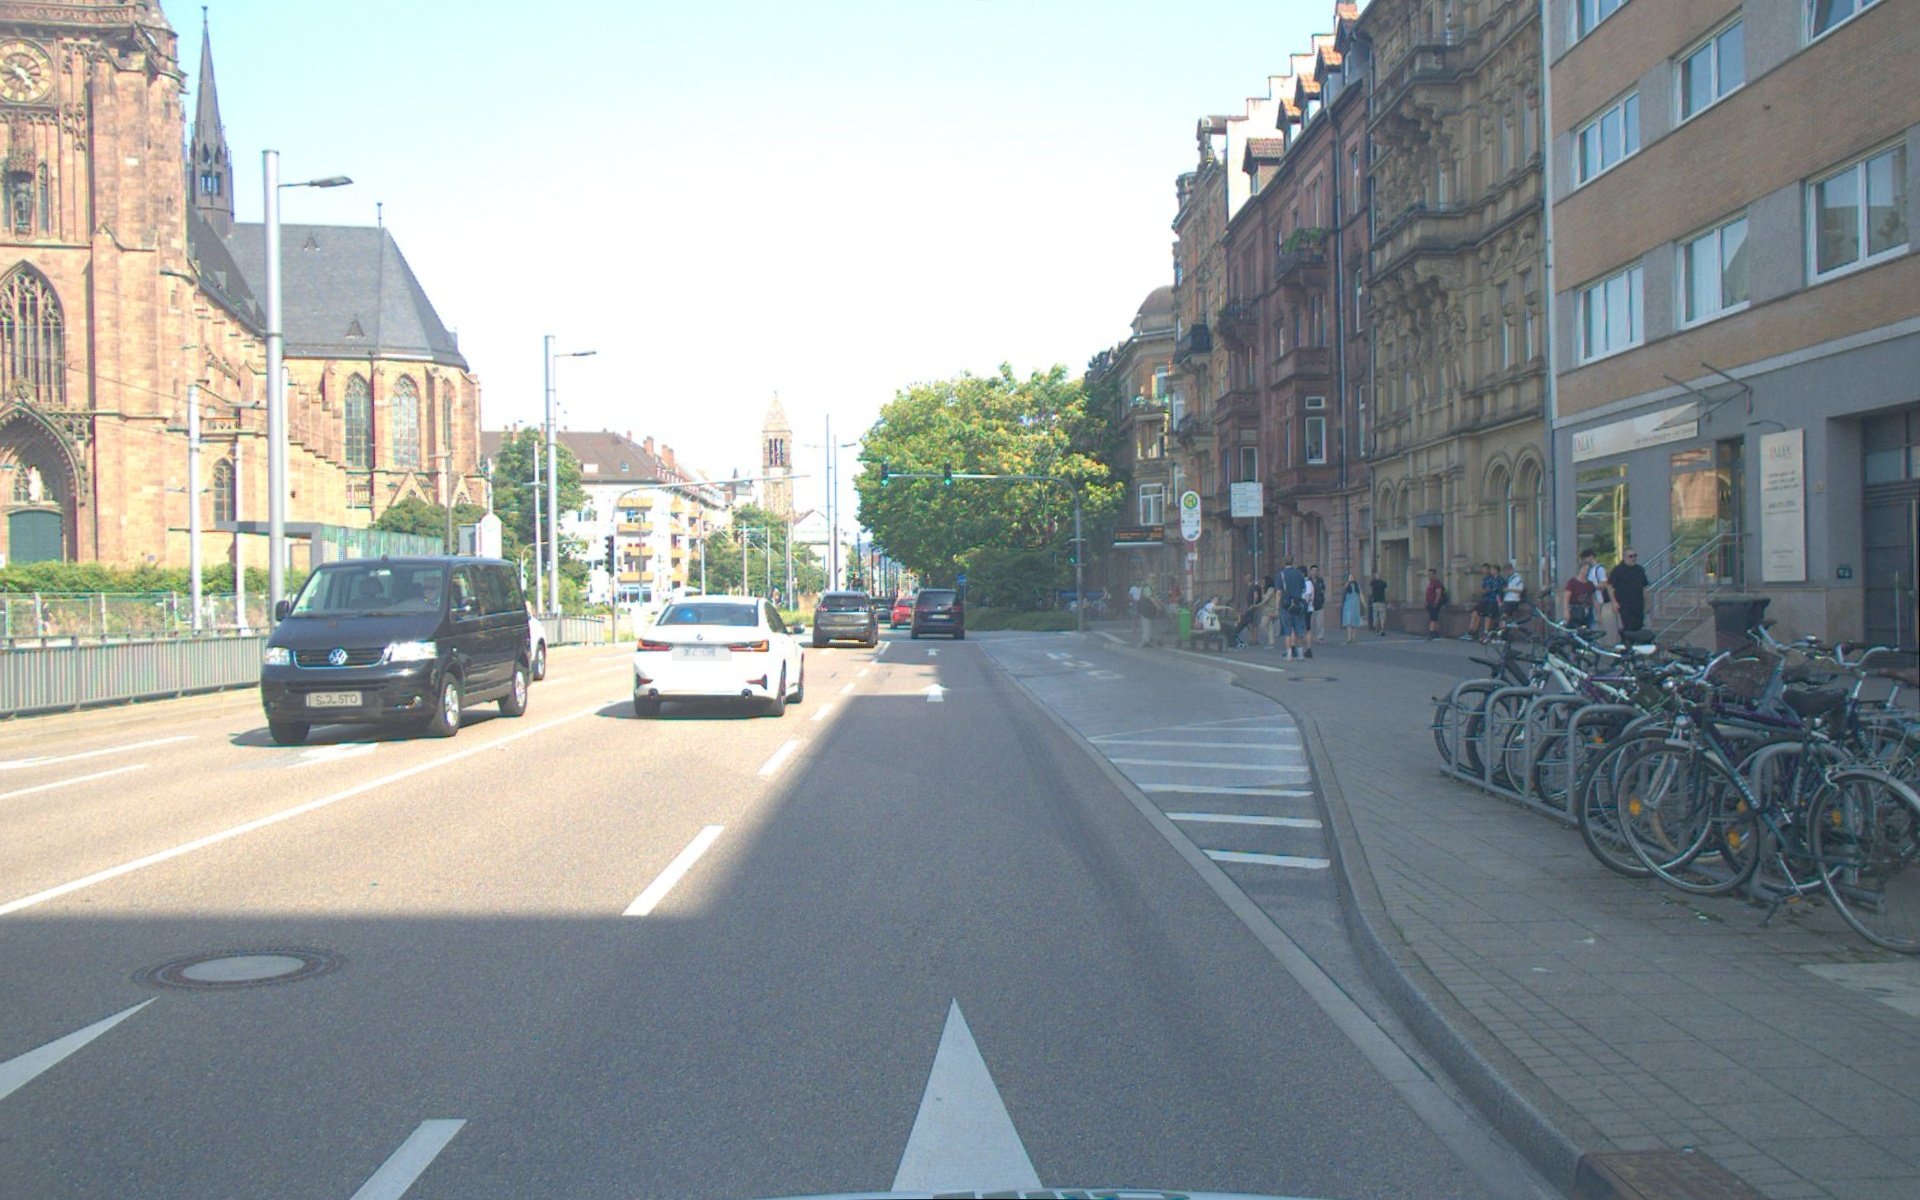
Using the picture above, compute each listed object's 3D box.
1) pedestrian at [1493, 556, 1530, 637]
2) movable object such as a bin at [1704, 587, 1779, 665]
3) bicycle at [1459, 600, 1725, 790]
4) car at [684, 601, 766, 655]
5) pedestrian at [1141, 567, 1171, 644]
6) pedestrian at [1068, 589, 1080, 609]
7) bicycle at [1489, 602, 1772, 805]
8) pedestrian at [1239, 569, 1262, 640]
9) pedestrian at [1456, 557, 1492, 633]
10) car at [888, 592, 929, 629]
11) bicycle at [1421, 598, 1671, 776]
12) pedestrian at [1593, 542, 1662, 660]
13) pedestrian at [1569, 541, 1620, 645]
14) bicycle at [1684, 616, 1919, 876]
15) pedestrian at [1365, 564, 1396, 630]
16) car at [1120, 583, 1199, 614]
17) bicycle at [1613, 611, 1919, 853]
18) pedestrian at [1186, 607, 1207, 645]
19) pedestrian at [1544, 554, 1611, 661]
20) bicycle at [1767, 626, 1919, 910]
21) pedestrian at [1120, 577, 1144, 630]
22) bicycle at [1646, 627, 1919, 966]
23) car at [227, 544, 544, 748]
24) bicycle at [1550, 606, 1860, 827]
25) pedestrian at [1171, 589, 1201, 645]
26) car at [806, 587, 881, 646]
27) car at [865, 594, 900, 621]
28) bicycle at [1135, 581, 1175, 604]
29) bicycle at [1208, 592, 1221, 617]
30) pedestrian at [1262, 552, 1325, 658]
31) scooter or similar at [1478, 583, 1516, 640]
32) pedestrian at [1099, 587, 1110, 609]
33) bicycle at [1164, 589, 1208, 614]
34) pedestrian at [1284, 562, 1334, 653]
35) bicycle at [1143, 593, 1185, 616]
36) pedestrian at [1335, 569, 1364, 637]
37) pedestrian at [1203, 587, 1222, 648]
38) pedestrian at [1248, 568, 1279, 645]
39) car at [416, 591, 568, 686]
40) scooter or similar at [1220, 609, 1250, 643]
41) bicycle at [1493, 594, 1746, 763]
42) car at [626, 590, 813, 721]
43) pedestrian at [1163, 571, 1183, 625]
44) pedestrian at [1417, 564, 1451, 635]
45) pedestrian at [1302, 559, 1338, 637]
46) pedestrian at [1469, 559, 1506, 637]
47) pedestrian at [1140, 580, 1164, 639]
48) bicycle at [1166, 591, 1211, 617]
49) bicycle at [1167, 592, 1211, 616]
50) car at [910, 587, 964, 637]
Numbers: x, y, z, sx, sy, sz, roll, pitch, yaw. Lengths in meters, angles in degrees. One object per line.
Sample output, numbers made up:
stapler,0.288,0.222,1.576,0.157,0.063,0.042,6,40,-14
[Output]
pedestrian,12.047,-0.076,36.163,0.591,1.761,0.510,-1,0,-4
movable object such as a bin,11.498,0.375,24.337,0.725,1.099,0.666,-1,0,-18
bicycle,4.117,0.606,10.790,1.601,1.168,0.385,-1,0,-6
car,-6.483,0.741,45.982,1.678,1.354,4.520,-2,0,-1
pedestrian,4.596,0.126,38.809,0.554,1.759,0.745,-1,0,-4
pedestrian,6.498,-0.058,94.362,0.439,1.089,0.482,-1,0,-31
bicycle,4.108,0.619,10.156,1.601,1.168,0.385,-1,0,-6
pedestrian,7.349,0.110,41.856,0.334,1.763,0.805,-1,0,-4
pedestrian,11.769,-0.119,37.881,0.591,1.721,0.586,-1,0,-4
car,-2.350,0.473,76.687,1.794,1.649,4.356,0,0,-1
bicycle,4.056,0.586,11.470,1.601,1.168,0.385,-1,0,-6
pedestrian,10.460,0.014,25.950,0.705,1.818,0.856,-1,0,0
pedestrian,11.548,-0.126,30.119,0.591,1.863,0.742,-1,0,-4
bicycle,4.344,0.673,7.926,1.601,1.168,0.385,-1,0,-6
pedestrian,11.300,-0.076,44.434,0.616,1.749,0.690,-1,0,-1
car,11.140,-0.081,92.502,4.099,1.590,1.998,-1,0,-5
bicycle,4.255,0.664,8.575,1.601,1.168,0.385,-1,0,-6
pedestrian,5.273,0.577,36.839,0.297,0.834,0.603,-1,0,-8
pedestrian,9.685,0.116,25.972,0.705,1.638,0.856,-1,0,0
bicycle,4.403,0.699,7.225,1.601,1.168,0.385,-1,0,-6
pedestrian,5.548,0.107,53.270,0.676,1.693,0.619,-1,0,-1
bicycle,3.449,0.712,6.739,0.399,1.168,1.653,-1,0,-8
car,-6.281,0.446,18.741,1.953,1.937,4.715,-2,0,-1
bicycle,4.199,0.642,9.343,1.601,1.168,0.385,-1,0,-6
pedestrian,5.288,0.390,38.747,0.554,1.300,0.596,-1,0,-5
car,-3.412,0.448,49.098,1.953,1.649,4.356,0,0,-1
car,-4.353,0.398,93.252,1.826,1.449,4.356,0,0,-1
bicycle,9.555,-0.355,81.132,1.891,1.066,0.526,-1,0,-7
bicycle,11.001,0.187,71.503,0.408,1.066,1.671,-1,0,4
pedestrian,5.994,0.089,29.781,0.907,1.863,0.800,-1,0,-4
scooter or similar,11.344,0.234,34.983,0.353,1.183,1.151,-1,0,-3
pedestrian,8.398,-0.122,96.019,0.585,1.270,0.506,-1,0,-2
bicycle,10.169,0.061,74.516,1.891,1.066,0.499,-1,0,-7
pedestrian,6.909,0.142,32.759,0.735,1.759,0.800,-1,0,-4
bicycle,9.681,0.212,78.577,1.891,1.066,0.526,-1,0,-7
pedestrian,9.421,0.072,40.036,0.476,1.638,0.812,-1,0,0
pedestrian,5.465,0.377,35.786,0.270,1.296,0.447,-1,0,-8
pedestrian,7.099,0.150,38.670,0.554,1.759,0.617,-1,0,-4
car,-8.940,0.683,31.954,1.678,1.639,4.504,-2,0,-1
scooter or similar,6.417,0.603,38.611,0.554,0.754,0.514,-1,0,-4
bicycle,4.819,0.563,12.153,1.599,1.168,0.601,-1,0,1
car,-2.964,0.624,21.337,1.772,1.452,4.773,1,0,-1
pedestrian,6.812,-0.067,52.822,0.471,1.731,0.702,-1,0,-4
pedestrian,11.420,-0.007,39.888,0.591,1.683,0.586,-1,0,-4
pedestrian,8.635,-0.060,39.747,0.604,1.835,1.071,-1,0,0
pedestrian,11.871,-0.047,37.215,0.591,1.721,0.586,-1,0,-4
pedestrian,5.366,0.262,46.219,0.517,1.640,0.702,-1,0,-4
bicycle,10.124,0.177,73.185,1.891,1.066,0.499,-1,0,-7
bicycle,10.226,0.178,73.946,1.891,1.066,0.499,-1,0,-7
car,-0.794,0.376,57.533,1.794,1.649,4.356,0,0,-1
